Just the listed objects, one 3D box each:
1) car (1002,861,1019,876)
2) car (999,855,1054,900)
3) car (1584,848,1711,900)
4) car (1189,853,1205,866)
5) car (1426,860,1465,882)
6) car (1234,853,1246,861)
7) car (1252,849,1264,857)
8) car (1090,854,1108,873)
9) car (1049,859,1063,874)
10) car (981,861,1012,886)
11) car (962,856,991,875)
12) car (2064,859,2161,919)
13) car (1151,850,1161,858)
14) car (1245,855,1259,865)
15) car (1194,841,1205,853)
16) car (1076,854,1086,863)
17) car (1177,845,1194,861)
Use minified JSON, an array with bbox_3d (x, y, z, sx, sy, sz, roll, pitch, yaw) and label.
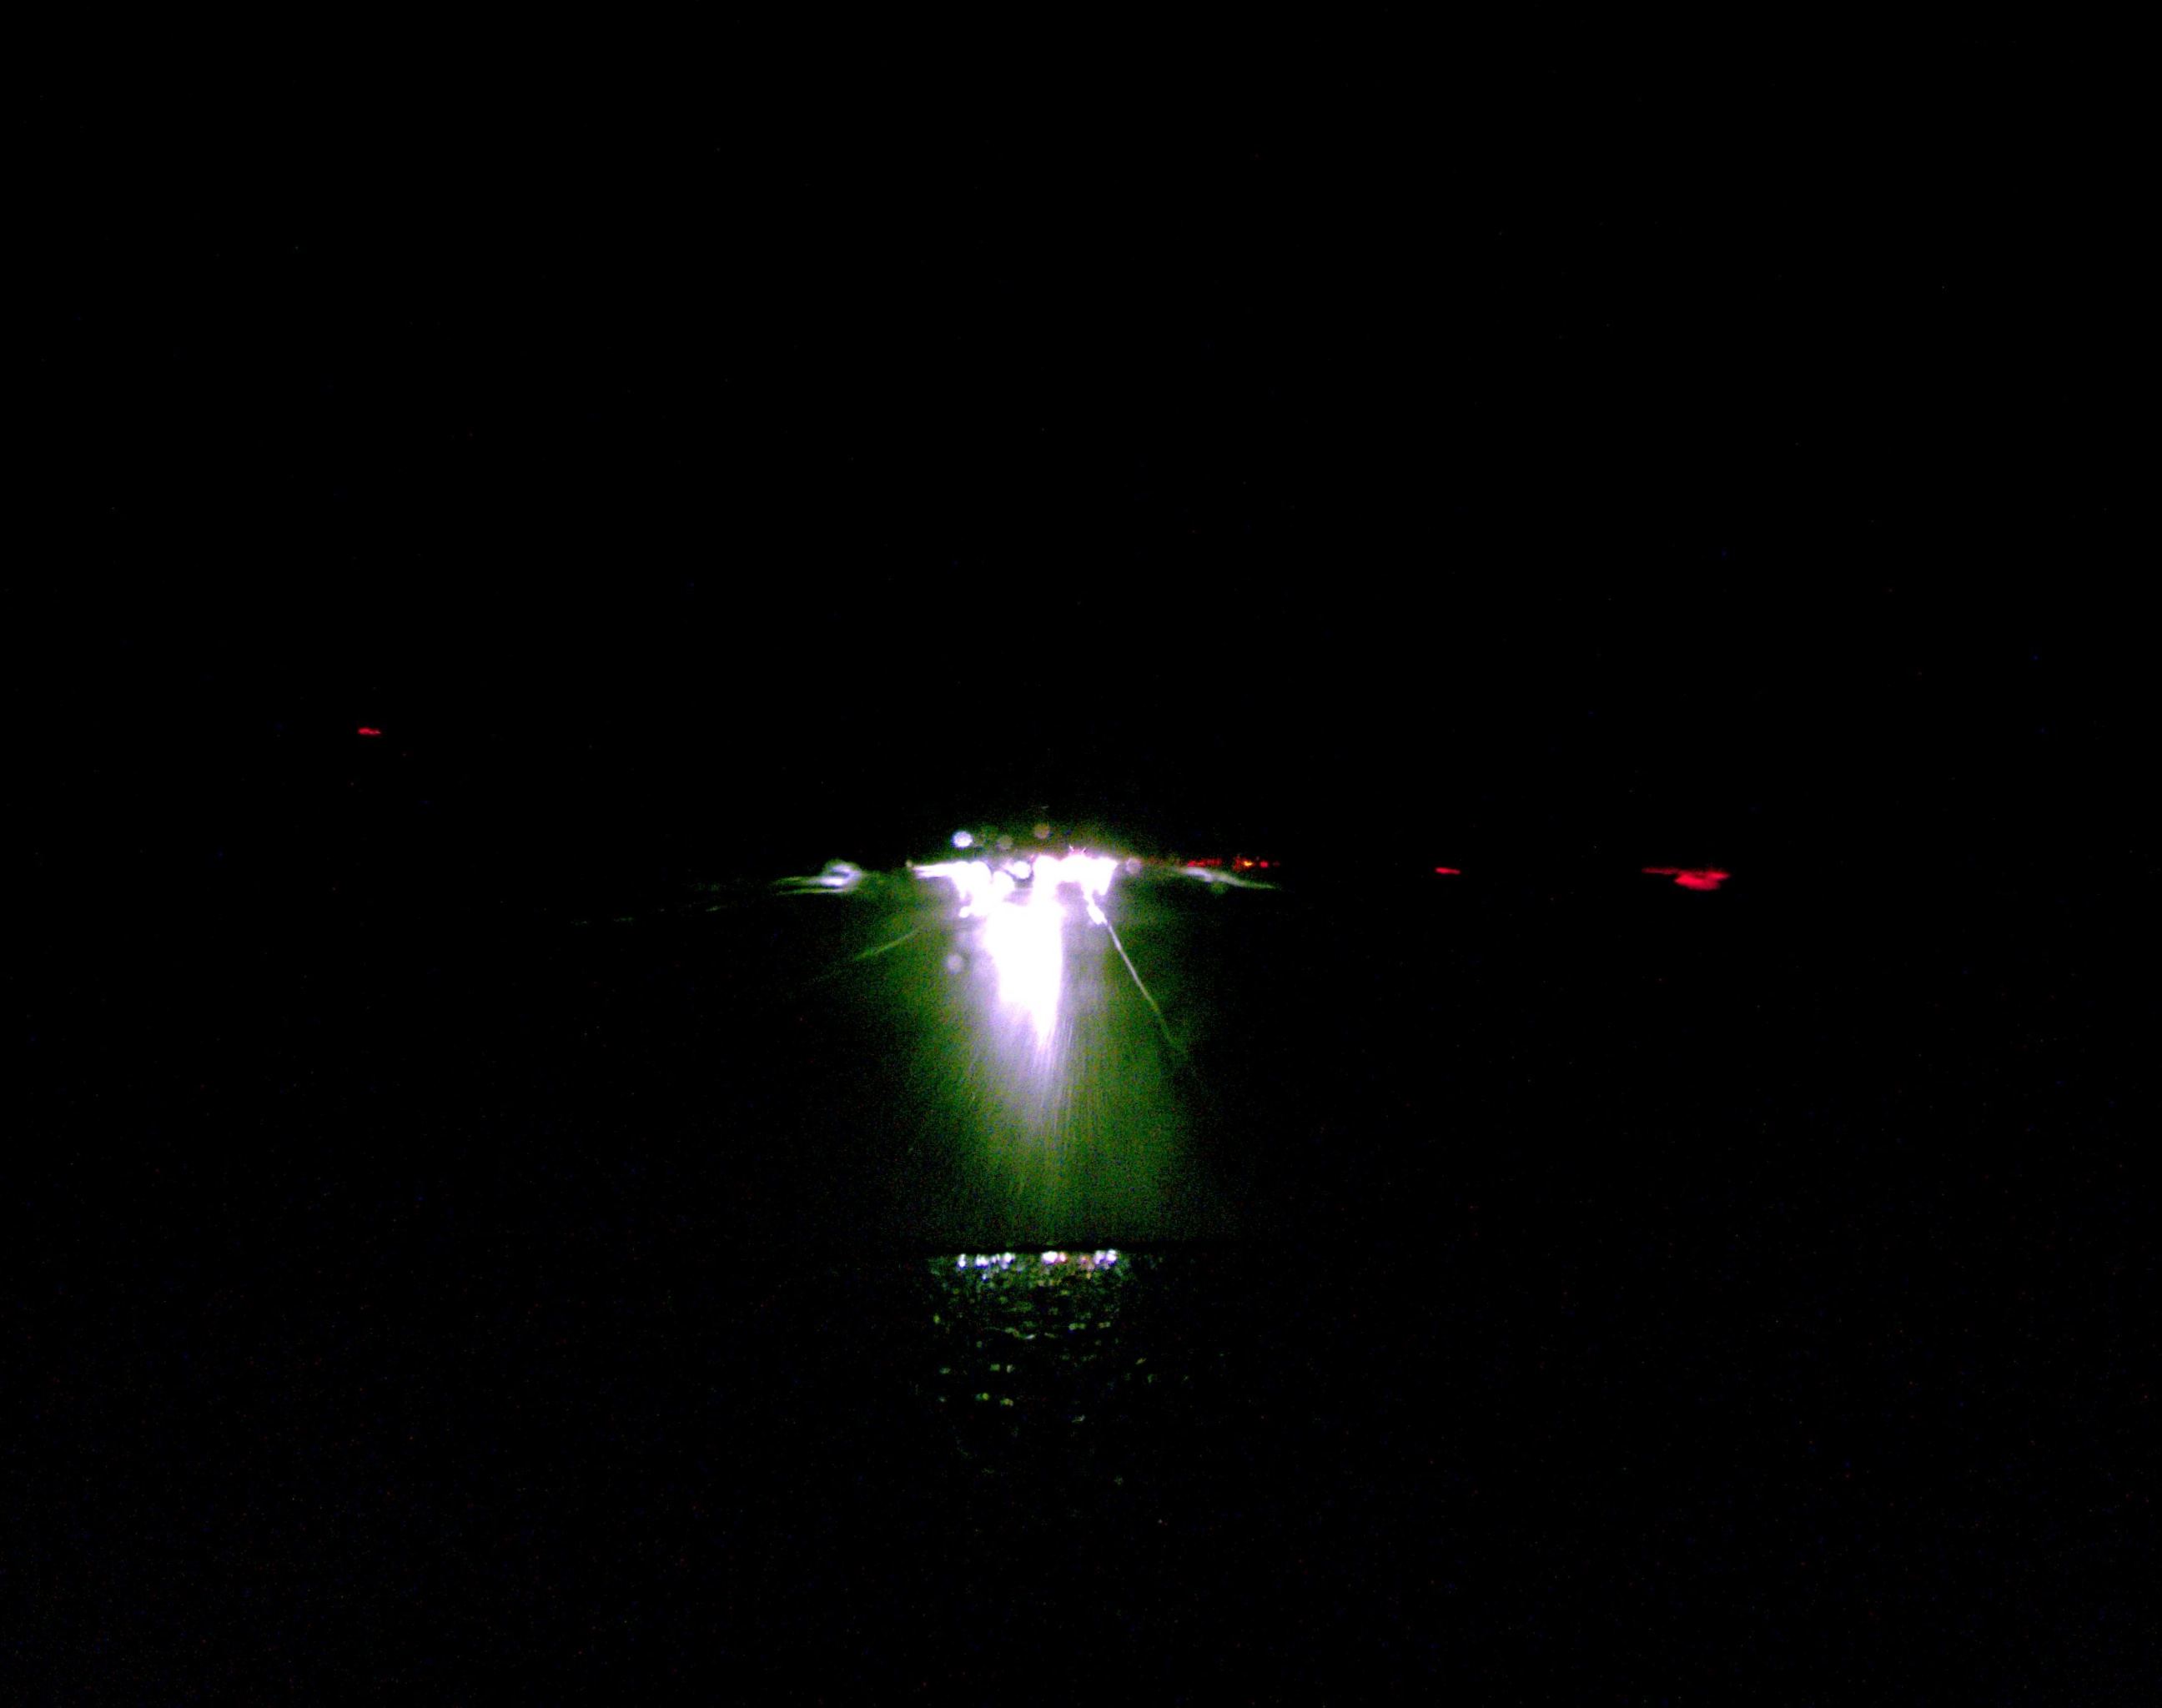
[{"bbox_3d":[-10.095,2.052,108.663,1.999,1.852,3.999,-2,1,-1],"label":"car"},{"bbox_3d":[-2.199,0.923,31.920,1.960,1.655,4.915,-2,0,-1],"label":"car"},{"bbox_3d":[22.917,0.745,30.985,1.913,1.895,4.142,-2,1,-3],"label":"car"},{"bbox_3d":[17.758,0.819,116.342,1.745,1.765,3.999,-2,1,1],"label":"car"},{"bbox_3d":[30.800,1.393,64.253,1.641,1.683,3.412,-2,1,1],"label":"car"},{"bbox_3d":[35.663,0.602,170.398,1.817,1.680,3.999,-2,1,1],"label":"car"},{"bbox_3d":[43.104,-0.228,185.396,1.895,1.778,4.173,-2,1,1],"label":"car"},{"bbox_3d":[1.779,0.971,76.646,1.611,1.775,3.909,-2,1,-1],"label":"car"},{"bbox_3d":[-3.083,1.484,94.304,1.615,1.697,3.597,-2,1,1],"label":"car"},{"bbox_3d":[-6.131,1.384,55.260,1.793,1.681,3.999,-2,0,-1],"label":"car"},{"bbox_3d":[-9.936,1.102,72.625,1.998,1.590,4.652,-2,1,1],"label":"car"},{"bbox_3d":[29.670,0.950,20.403,1.688,1.494,3.766,-2,1,0],"label":"car"},{"bbox_3d":[20.001,-0.012,203.289,2.213,2.002,3.999,-2,1,1],"label":"car"},{"bbox_3d":[33.409,1.176,148.571,1.822,1.936,3.999,-2,1,1],"label":"car"},{"bbox_3d":[29.099,-1.674,186.742,2.160,2.877,4.718,-2,1,1],"label":"car"},{"bbox_3d":[0.009,0.858,145.856,1.800,1.728,3.999,-2,1,-1],"label":"car"},{"bbox_3d":[21.573,-0.229,157.143,2.714,3.187,6.321,-2,1,1],"label":"car"}]
